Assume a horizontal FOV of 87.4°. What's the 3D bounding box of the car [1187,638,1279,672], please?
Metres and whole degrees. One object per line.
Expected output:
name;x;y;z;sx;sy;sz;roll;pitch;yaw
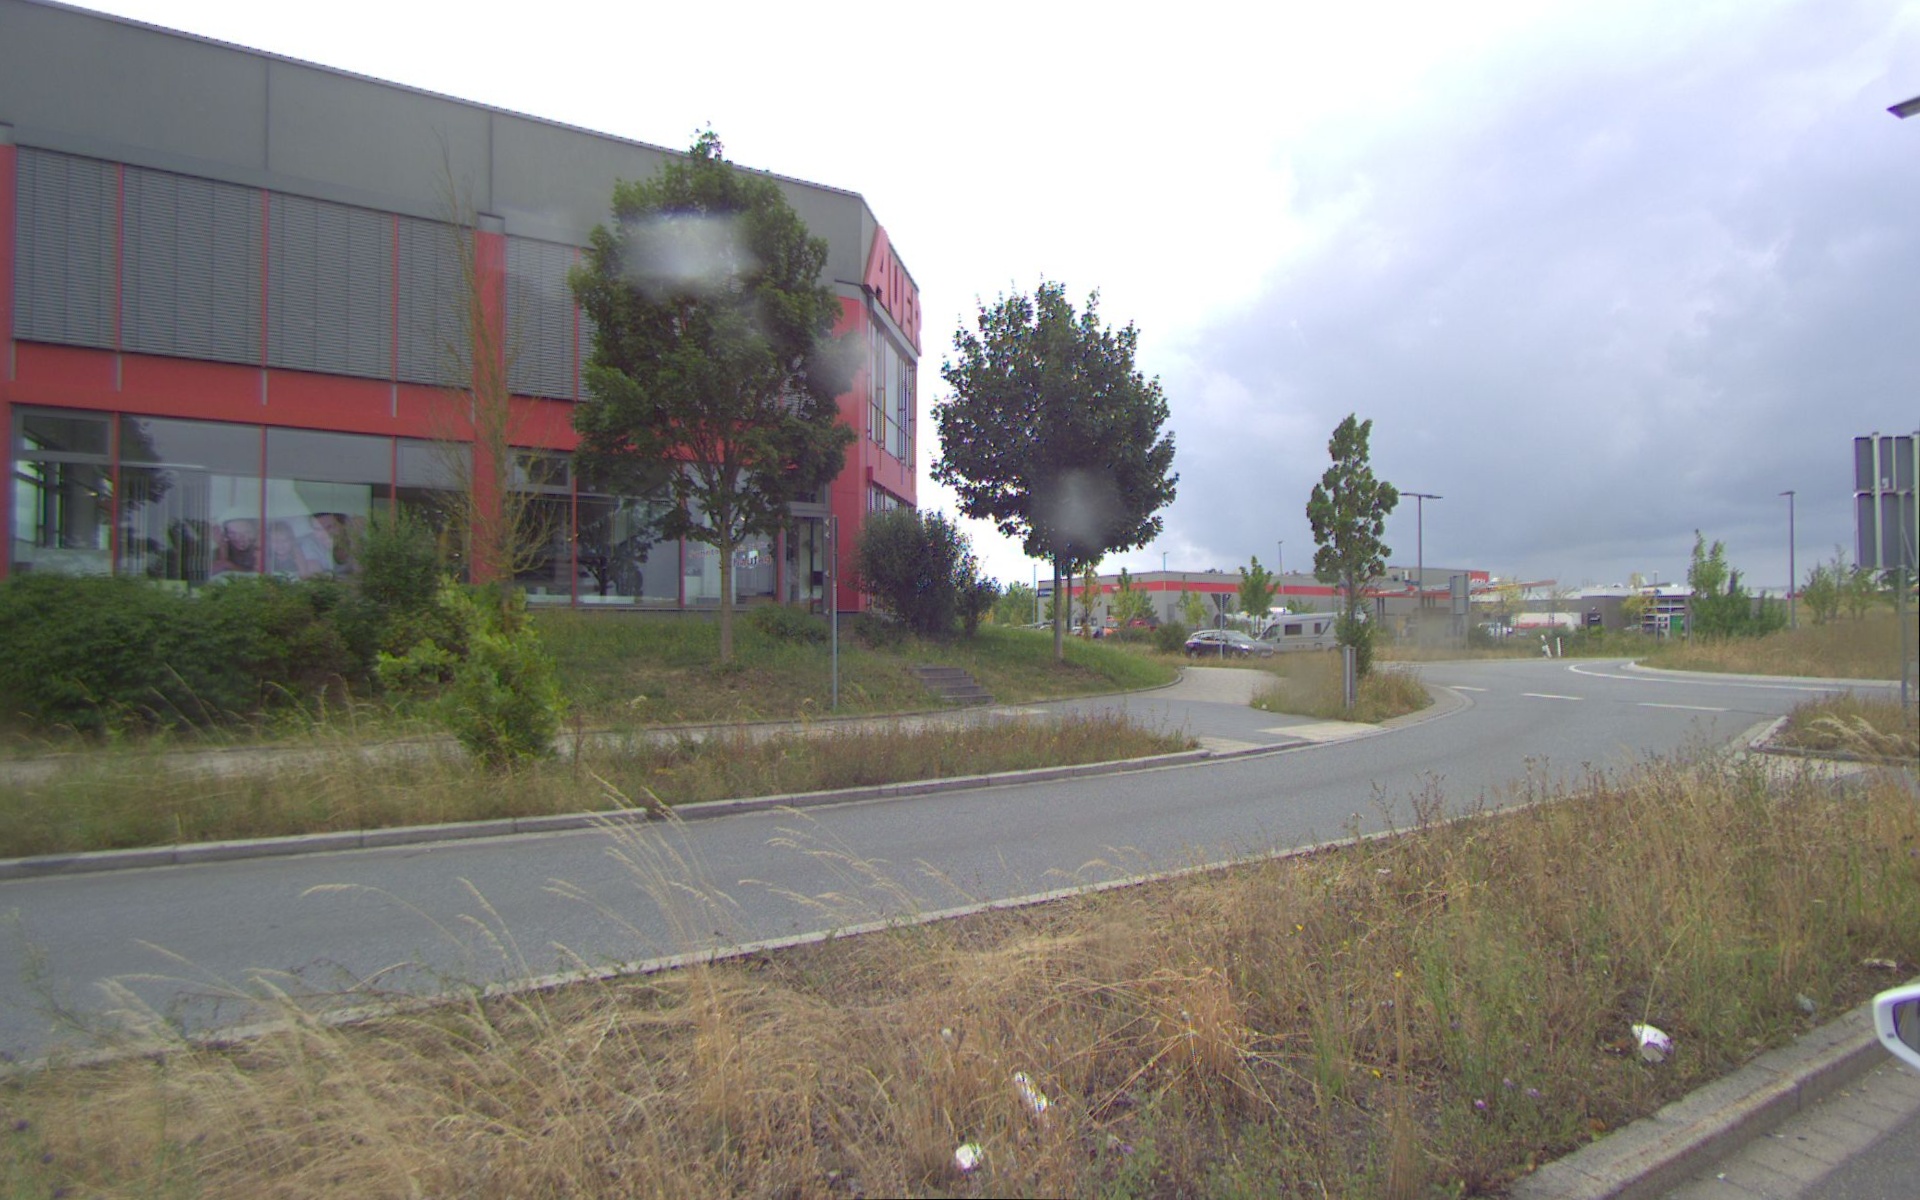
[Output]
car;11.765;2.348;43.464;1.662;1.267;3.555;2;-1;-38

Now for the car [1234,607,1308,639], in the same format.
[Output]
car;30.224;2.293;97.476;7.607;2.857;2.448;2;-1;-33

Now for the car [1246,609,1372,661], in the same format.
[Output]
car;17.822;1.751;51.457;5.628;2.418;2.269;1;-1;42
